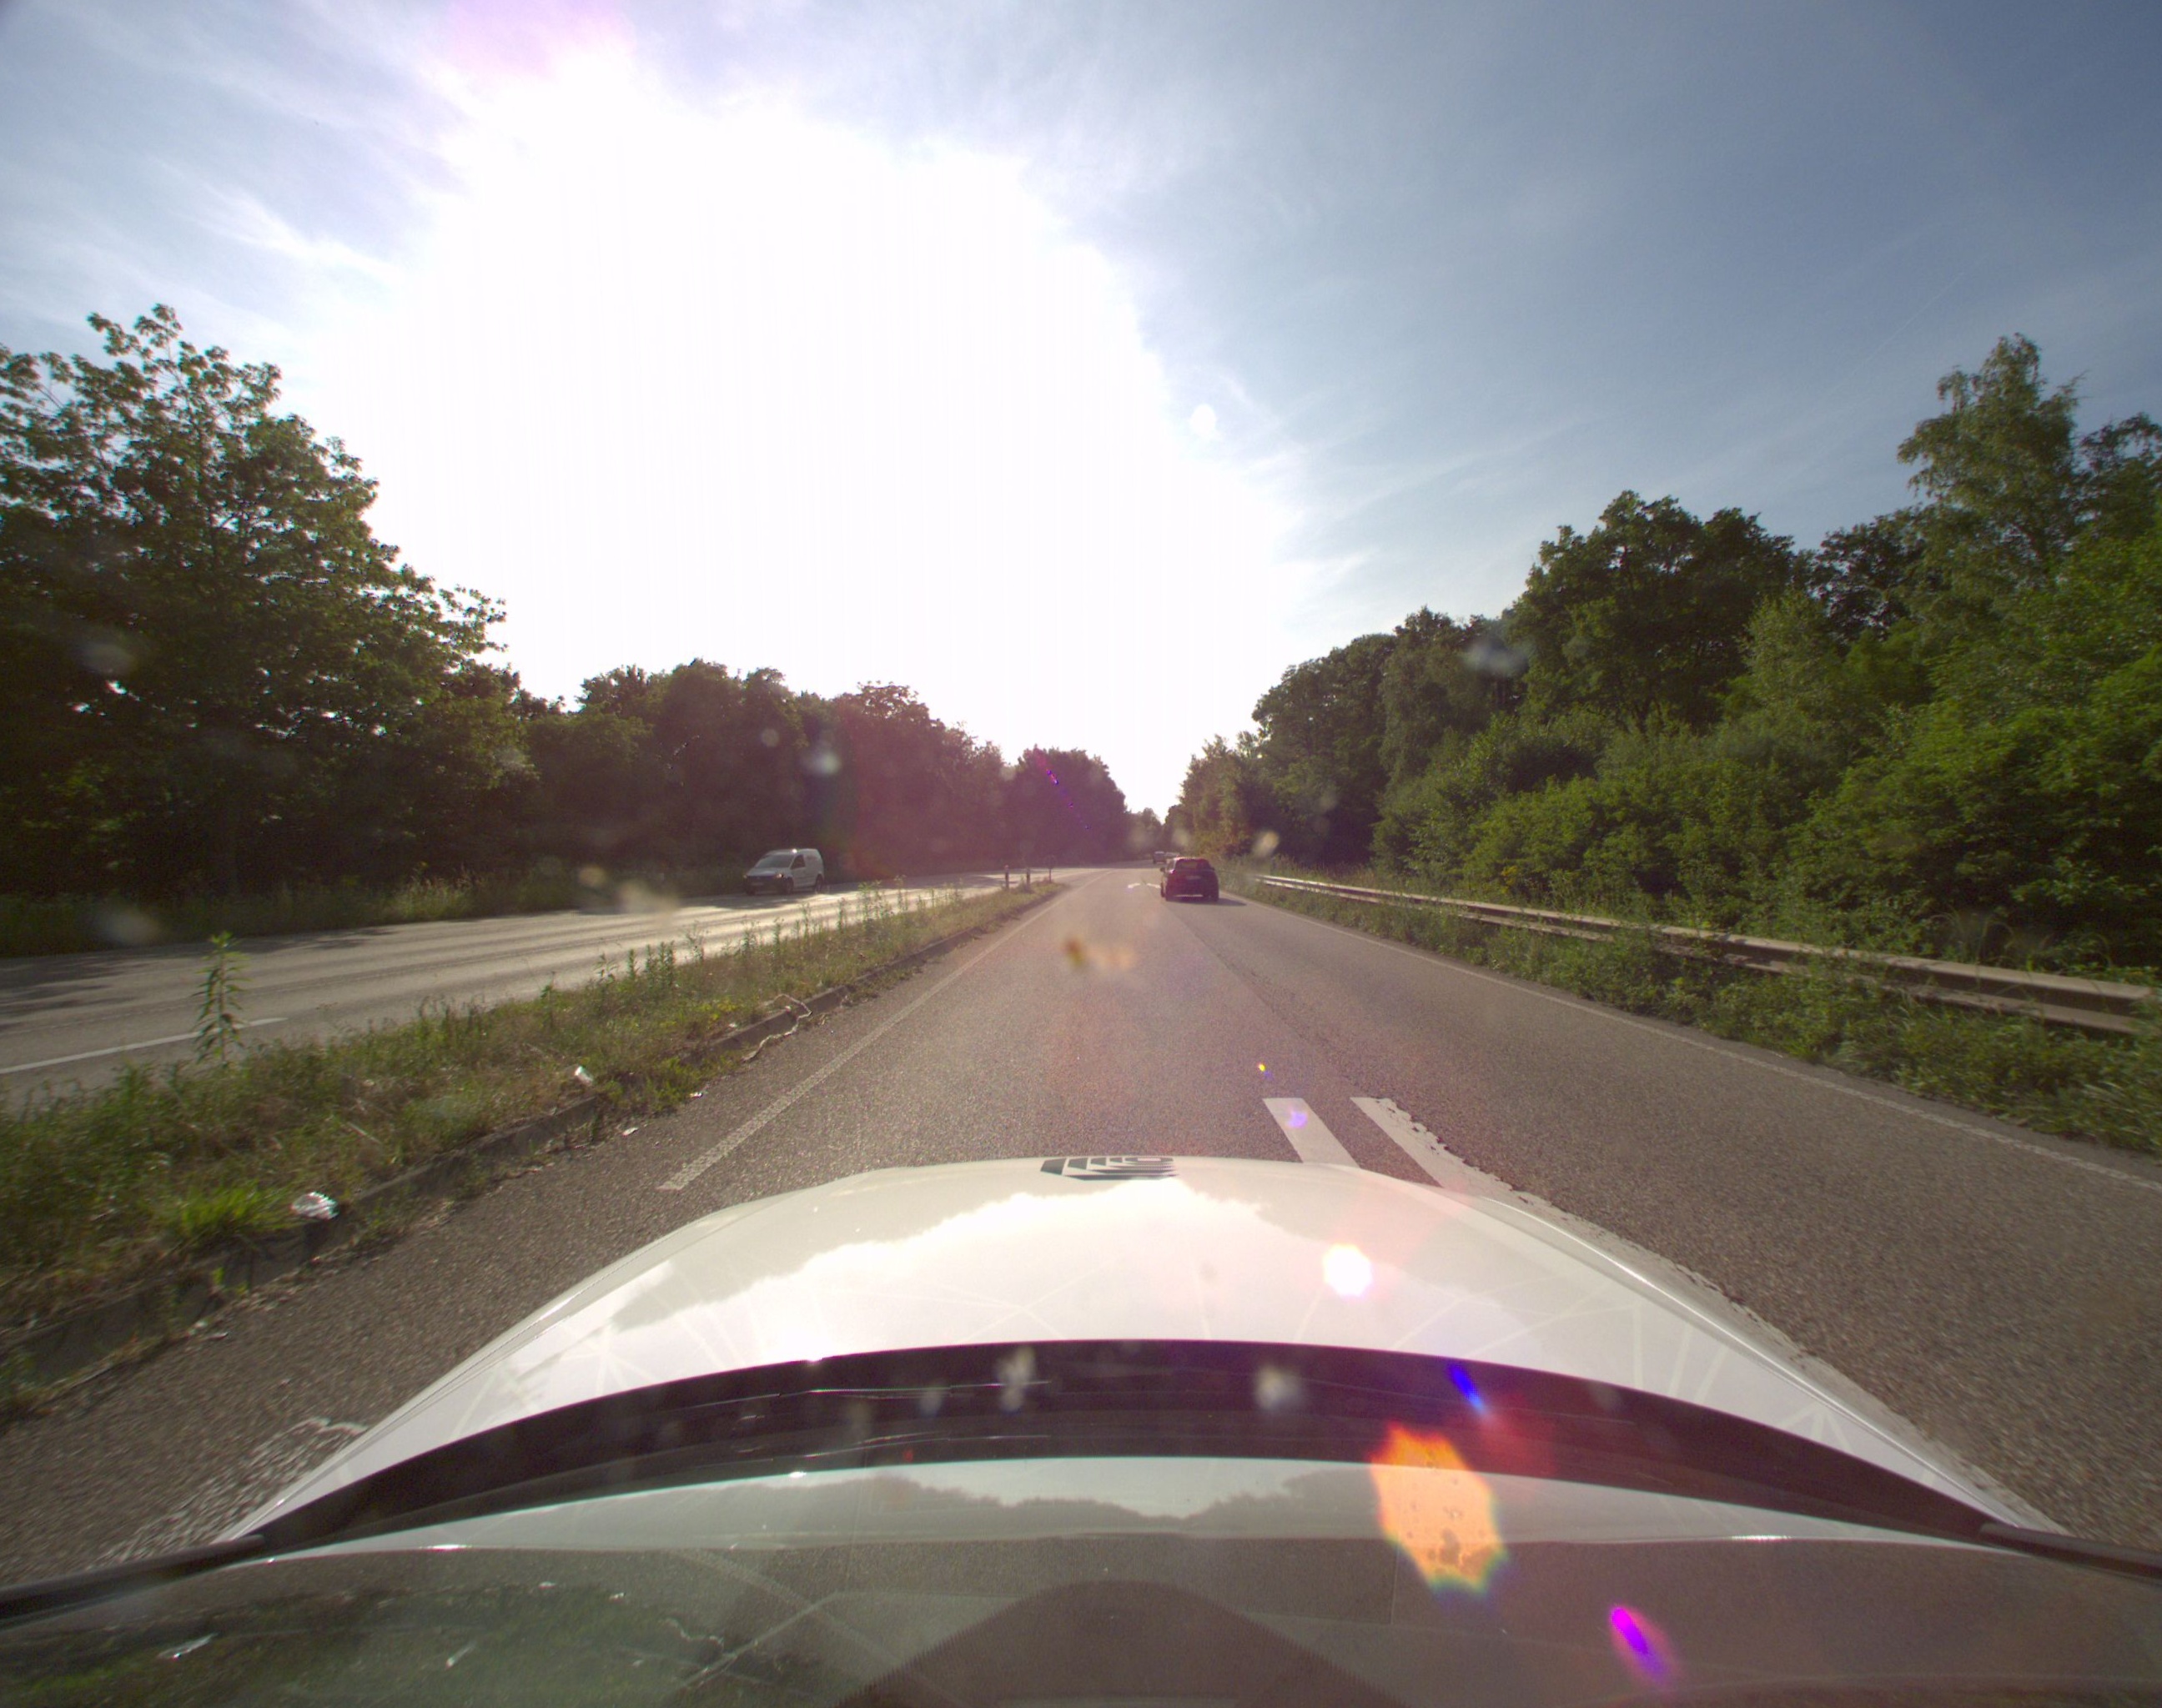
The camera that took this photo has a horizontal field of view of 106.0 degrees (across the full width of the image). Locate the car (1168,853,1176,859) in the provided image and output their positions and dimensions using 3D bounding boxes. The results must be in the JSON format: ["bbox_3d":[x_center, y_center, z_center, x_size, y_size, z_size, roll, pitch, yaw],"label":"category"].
[{"bbox_3d":[19.693,0.469,176.225,1.753,1.380,3.977,0,-1,5],"label":"car"}]

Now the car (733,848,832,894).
[{"bbox_3d":[-12.161,0.692,33.583,1.840,1.786,4.679,0,-1,7],"label":"car"}]

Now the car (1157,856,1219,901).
[{"bbox_3d":[3.612,0.823,28.011,1.812,1.468,3.875,0,-1,3],"label":"car"}]

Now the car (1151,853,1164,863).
[{"bbox_3d":[10.929,0.612,116.925,1.753,1.380,3.976,0,-1,4],"label":"car"}]

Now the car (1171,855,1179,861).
[{"bbox_3d":[21.695,0.939,188.775,1.753,1.380,3.976,0,-1,4],"label":"car"}]
